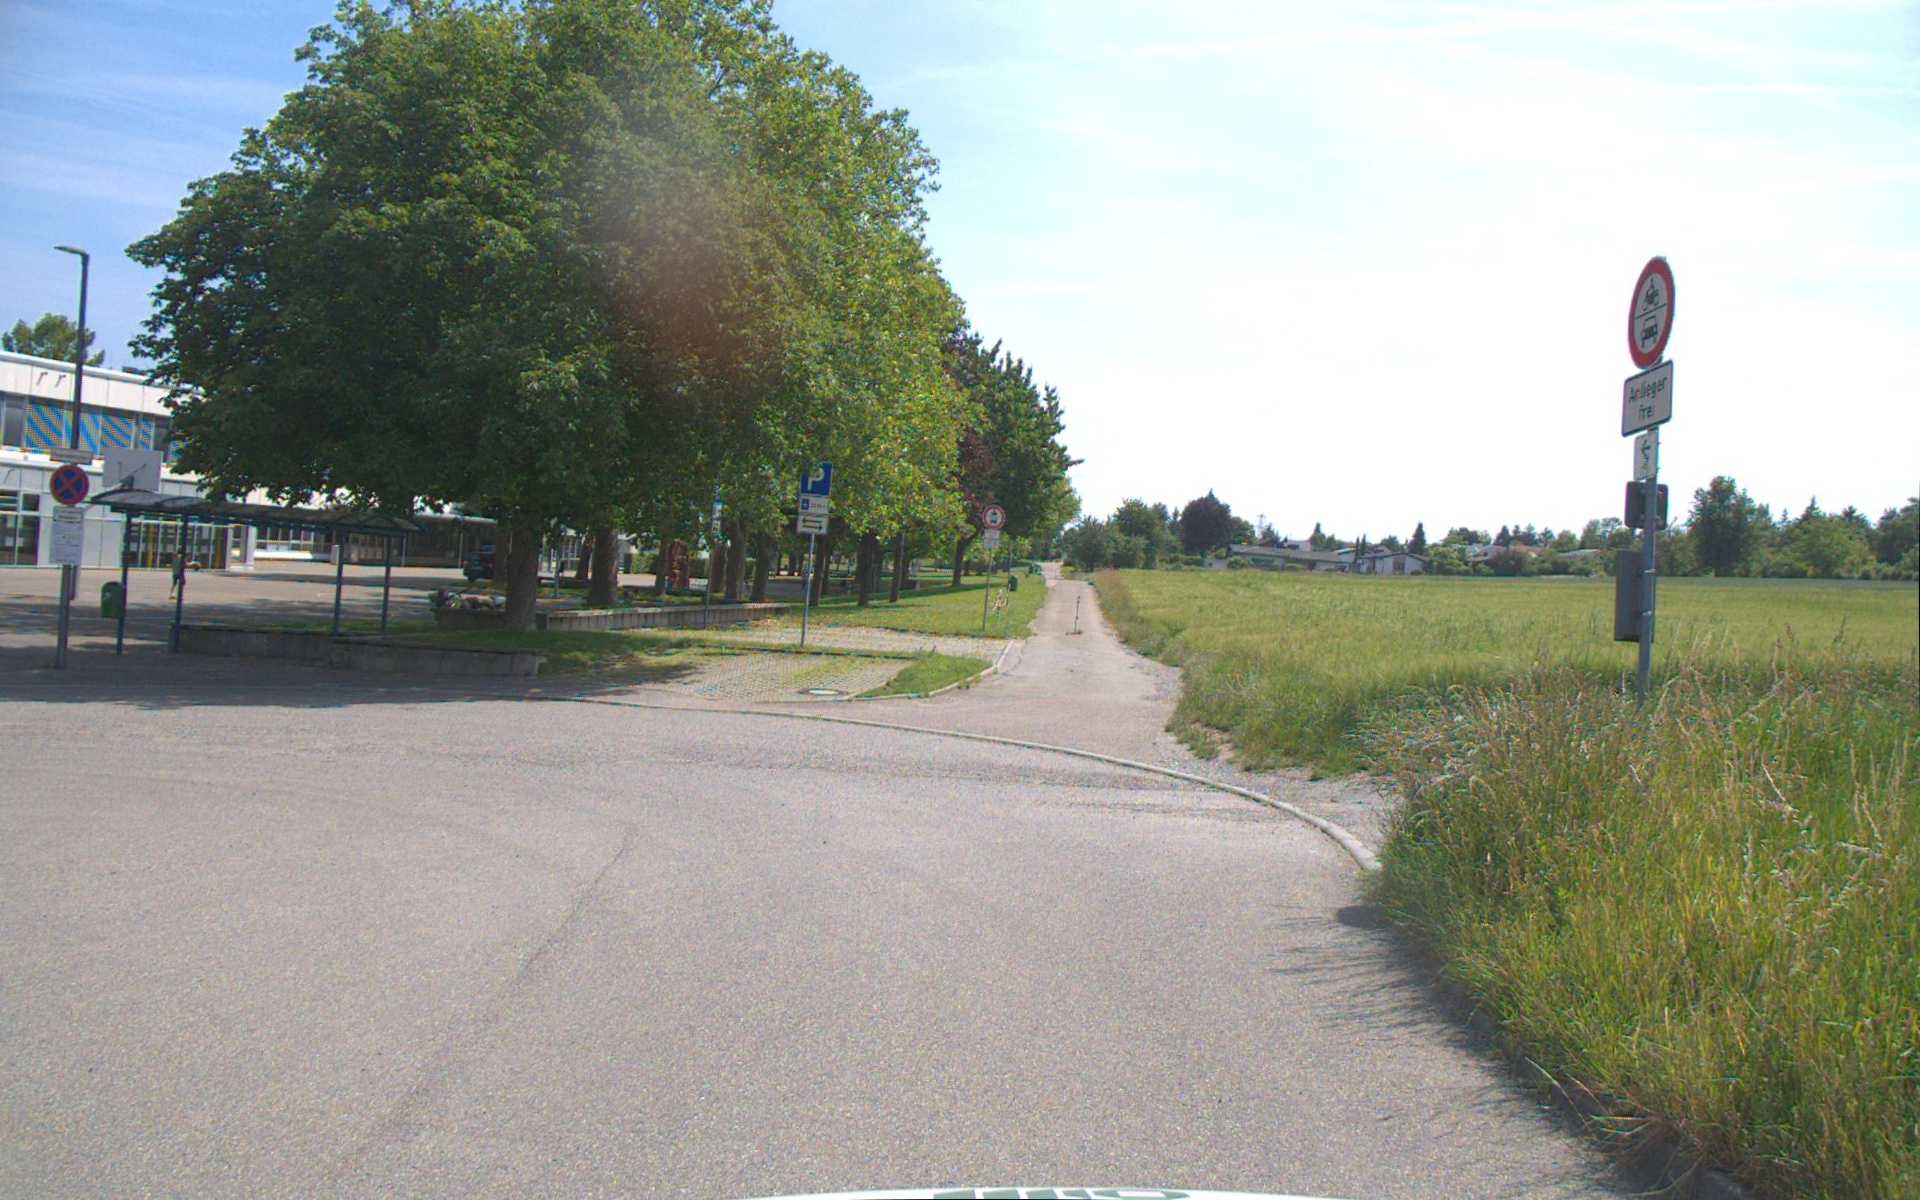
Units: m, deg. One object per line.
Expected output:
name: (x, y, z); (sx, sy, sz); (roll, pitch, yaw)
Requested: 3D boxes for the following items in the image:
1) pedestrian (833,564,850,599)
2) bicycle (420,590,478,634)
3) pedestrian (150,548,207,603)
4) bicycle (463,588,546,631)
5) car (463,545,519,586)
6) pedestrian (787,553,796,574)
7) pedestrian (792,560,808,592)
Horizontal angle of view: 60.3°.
pedestrian: (-7.236, -1.135, 100.748); (0.675, 2.048, 0.795); (3, 0, -30)
bicycle: (-12.894, 0.284, 41.785); (0.582, 1.057, 1.894); (2, 1, 10)
pedestrian: (-21.689, -0.670, 45.918); (0.897, 1.448, 1.070); (3, 0, 16)
bicycle: (-12.092, 0.253, 43.977); (2.022, 1.057, 0.571); (2, 0, -6)
car: (-22.984, -1.667, 81.156); (1.656, 1.866, 3.411); (3, 0, 0)
pedestrian: (-16.782, -3.620, 164.845); (0.707, 2.049, 0.683); (0, 0, 5)
pedestrian: (-10.571, -1.563, 109.360); (0.818, 2.048, 0.689); (3, 0, -14)
